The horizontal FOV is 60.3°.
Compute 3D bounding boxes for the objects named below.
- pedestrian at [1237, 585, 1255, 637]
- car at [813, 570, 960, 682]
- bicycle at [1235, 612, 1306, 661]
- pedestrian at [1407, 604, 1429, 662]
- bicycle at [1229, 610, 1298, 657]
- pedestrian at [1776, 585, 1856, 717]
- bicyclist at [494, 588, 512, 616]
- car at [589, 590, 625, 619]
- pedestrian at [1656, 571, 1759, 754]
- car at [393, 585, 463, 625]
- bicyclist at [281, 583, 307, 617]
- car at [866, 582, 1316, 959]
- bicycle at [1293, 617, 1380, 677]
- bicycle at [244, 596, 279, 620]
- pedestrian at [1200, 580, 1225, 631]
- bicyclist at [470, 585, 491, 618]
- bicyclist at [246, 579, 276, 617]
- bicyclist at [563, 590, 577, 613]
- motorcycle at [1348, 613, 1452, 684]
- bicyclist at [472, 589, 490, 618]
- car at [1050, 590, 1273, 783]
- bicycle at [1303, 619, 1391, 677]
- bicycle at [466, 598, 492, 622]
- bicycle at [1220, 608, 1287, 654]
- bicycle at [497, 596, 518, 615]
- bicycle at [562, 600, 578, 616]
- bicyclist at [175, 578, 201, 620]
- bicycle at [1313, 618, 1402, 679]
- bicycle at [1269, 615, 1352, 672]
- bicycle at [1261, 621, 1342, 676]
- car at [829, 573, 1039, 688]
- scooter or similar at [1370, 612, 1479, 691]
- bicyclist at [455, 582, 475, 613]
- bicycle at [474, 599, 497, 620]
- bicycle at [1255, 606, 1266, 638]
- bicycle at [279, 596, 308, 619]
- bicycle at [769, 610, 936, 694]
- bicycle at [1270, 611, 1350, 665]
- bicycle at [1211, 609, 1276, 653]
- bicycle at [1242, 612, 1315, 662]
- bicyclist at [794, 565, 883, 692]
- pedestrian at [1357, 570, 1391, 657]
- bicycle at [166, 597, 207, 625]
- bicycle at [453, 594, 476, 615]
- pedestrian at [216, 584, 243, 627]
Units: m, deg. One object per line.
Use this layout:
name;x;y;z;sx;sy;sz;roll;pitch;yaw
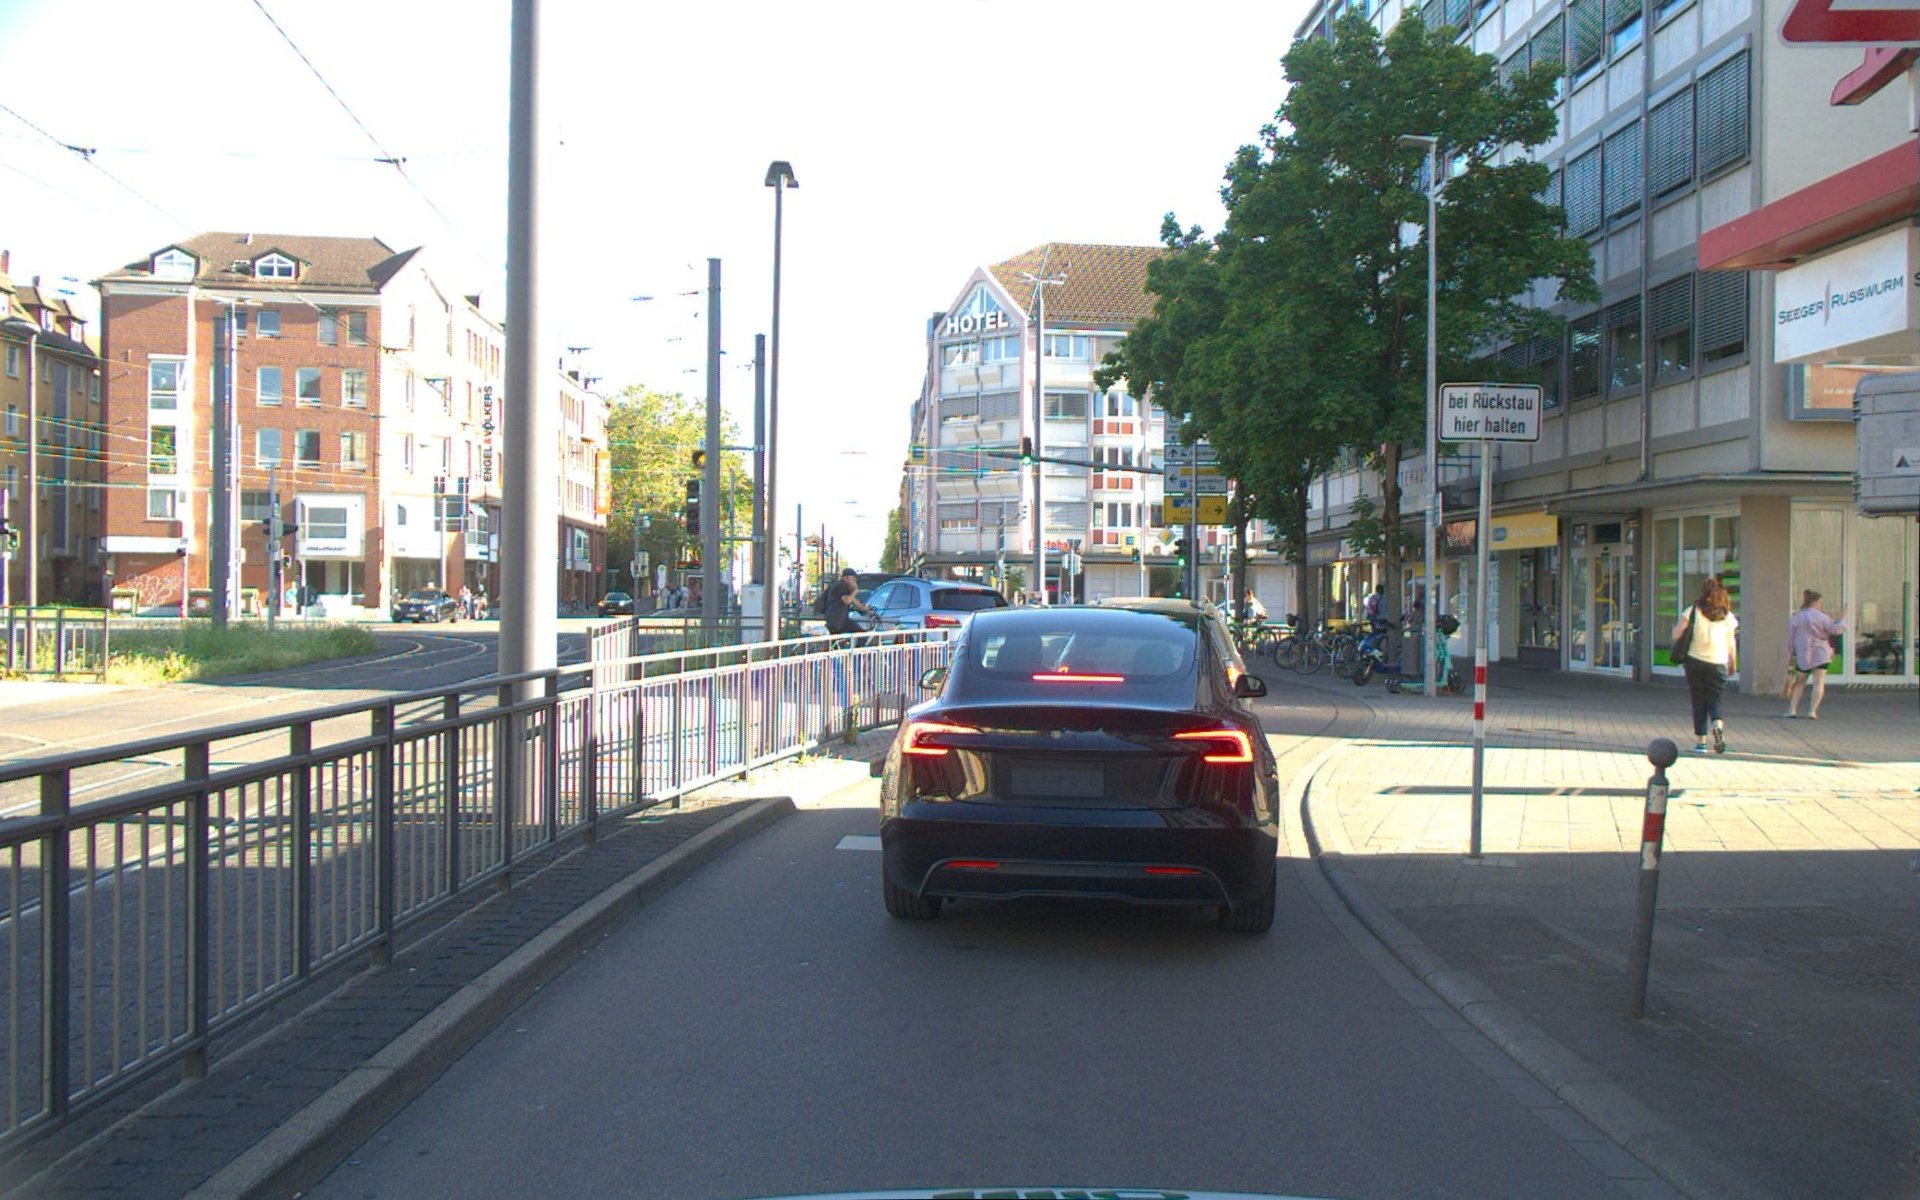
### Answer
pedestrian;9.699;0.379;56.098;0.515;1.740;0.403;1;-1;0
car;-1.527;0.485;32.594;1.962;2.049;3.981;0;0;-17
bicycle;7.397;0.864;39.419;1.616;1.118;0.350;1;-1;1
pedestrian;10.896;0.774;39.326;0.381;1.367;0.513;1;-1;1
bicycle;7.426;0.817;40.433;1.616;1.118;0.350;1;-1;1
pedestrian;11.372;0.664;21.994;0.871;1.696;0.808;1;-1;23
bicyclist;-25.758;0.114;93.265;0.767;1.590;0.746;0;0;1
car;-22.321;0.280;104.689;1.663;1.762;3.704;1;0;-3
pedestrian;7.605;0.616;16.867;0.895;1.783;1.038;1;-1;22
car;-21.977;0.209;68.441;1.676;1.553;4.034;1;0;-2
bicyclist;-29.663;-0.010;73.664;0.689;1.496;0.973;0;0;7
car;0.666;0.691;8.679;1.791;1.481;4.002;1;0;4
bicycle;7.277;0.907;31.962;1.620;1.118;0.349;1;-1;-11
bicycle;-28.426;0.324;67.345;0.513;0.988;2.246;1;0;-1
pedestrian;8.531;0.188;55.960;0.685;1.691;0.777;1;-1;-1
bicyclist;-22.876;0.076;78.857;0.769;1.554;0.589;1;-1;4
bicyclist;-28.457;-0.072;67.316;0.880;1.529;0.696;1;-1;-1
bicyclist;-26.993;0.107;114.545;0.767;1.590;0.746;1;-1;1
motorcycle;7.806;0.856;29.362;1.673;1.194;0.541;1;-1;-3
bicyclist;-25.921;0.193;89.486;0.767;1.590;0.746;0;0;1
car;1.771;0.665;14.948;1.714;1.480;4.003;1;0;6
bicycle;7.381;0.913;31.540;1.620;1.079;0.349;1;-1;-11
bicycle;-22.875;0.467;78.729;0.449;1.112;2.202;1;0;3
bicycle;7.361;0.774;41.479;1.616;1.118;0.350;0;0;1
bicycle;-25.686;0.305;93.876;0.518;1.107;2.225;0;0;1
bicycle;-26.990;0.542;114.449;0.518;1.107;2.225;1;0;1
bicyclist;-28.255;-0.030;60.551;0.620;1.529;0.696;1;-1;-1
bicycle;7.477;0.915;31.120;1.620;1.118;0.349;1;-1;-11
bicycle;7.094;0.884;33.487;1.620;1.118;0.349;1;-1;-11
bicycle;7.111;1.016;34.441;1.620;1.118;0.349;1;-1;-11
car;-0.507;0.454;26.577;1.859;1.691;4.125;1;0;-25
scooter or similar;7.661;0.836;27.285;1.610;1.236;0.644;1;-1;30
bicyclist;-25.999;-0.143;86.863;0.767;1.590;0.746;0;0;1
bicycle;-25.877;0.502;90.155;0.518;1.107;2.284;1;0;1
bicycle;10.124;0.740;55.768;0.325;1.052;1.257;1;0;8
bicycle;-29.682;0.334;73.669;0.396;0.998;1.695;1;0;7
bicycle;-1.427;0.694;22.394;2.313;1.072;0.622;1;-1;-39
bicycle;7.498;0.818;35.442;1.616;1.118;0.350;1;-1;1
bicycle;7.290;0.799;42.571;1.616;1.118;0.350;1;-1;1
bicycle;7.381;0.863;38.392;1.616;1.118;0.350;1;-1;1
bicyclist;-1.637;0.371;22.225;0.753;1.657;0.964;1;-1;-39
pedestrian;9.873;0.328;39.482;0.648;2.049;0.579;1;-1;1
bicycle;-28.261;0.388;60.474;0.437;0.988;2.246;1;0;-1
bicycle;-25.998;0.234;86.806;0.518;1.107;2.284;0;0;1
pedestrian;-31.657;0.246;71.664;0.767;1.852;0.746;1;-1;1
